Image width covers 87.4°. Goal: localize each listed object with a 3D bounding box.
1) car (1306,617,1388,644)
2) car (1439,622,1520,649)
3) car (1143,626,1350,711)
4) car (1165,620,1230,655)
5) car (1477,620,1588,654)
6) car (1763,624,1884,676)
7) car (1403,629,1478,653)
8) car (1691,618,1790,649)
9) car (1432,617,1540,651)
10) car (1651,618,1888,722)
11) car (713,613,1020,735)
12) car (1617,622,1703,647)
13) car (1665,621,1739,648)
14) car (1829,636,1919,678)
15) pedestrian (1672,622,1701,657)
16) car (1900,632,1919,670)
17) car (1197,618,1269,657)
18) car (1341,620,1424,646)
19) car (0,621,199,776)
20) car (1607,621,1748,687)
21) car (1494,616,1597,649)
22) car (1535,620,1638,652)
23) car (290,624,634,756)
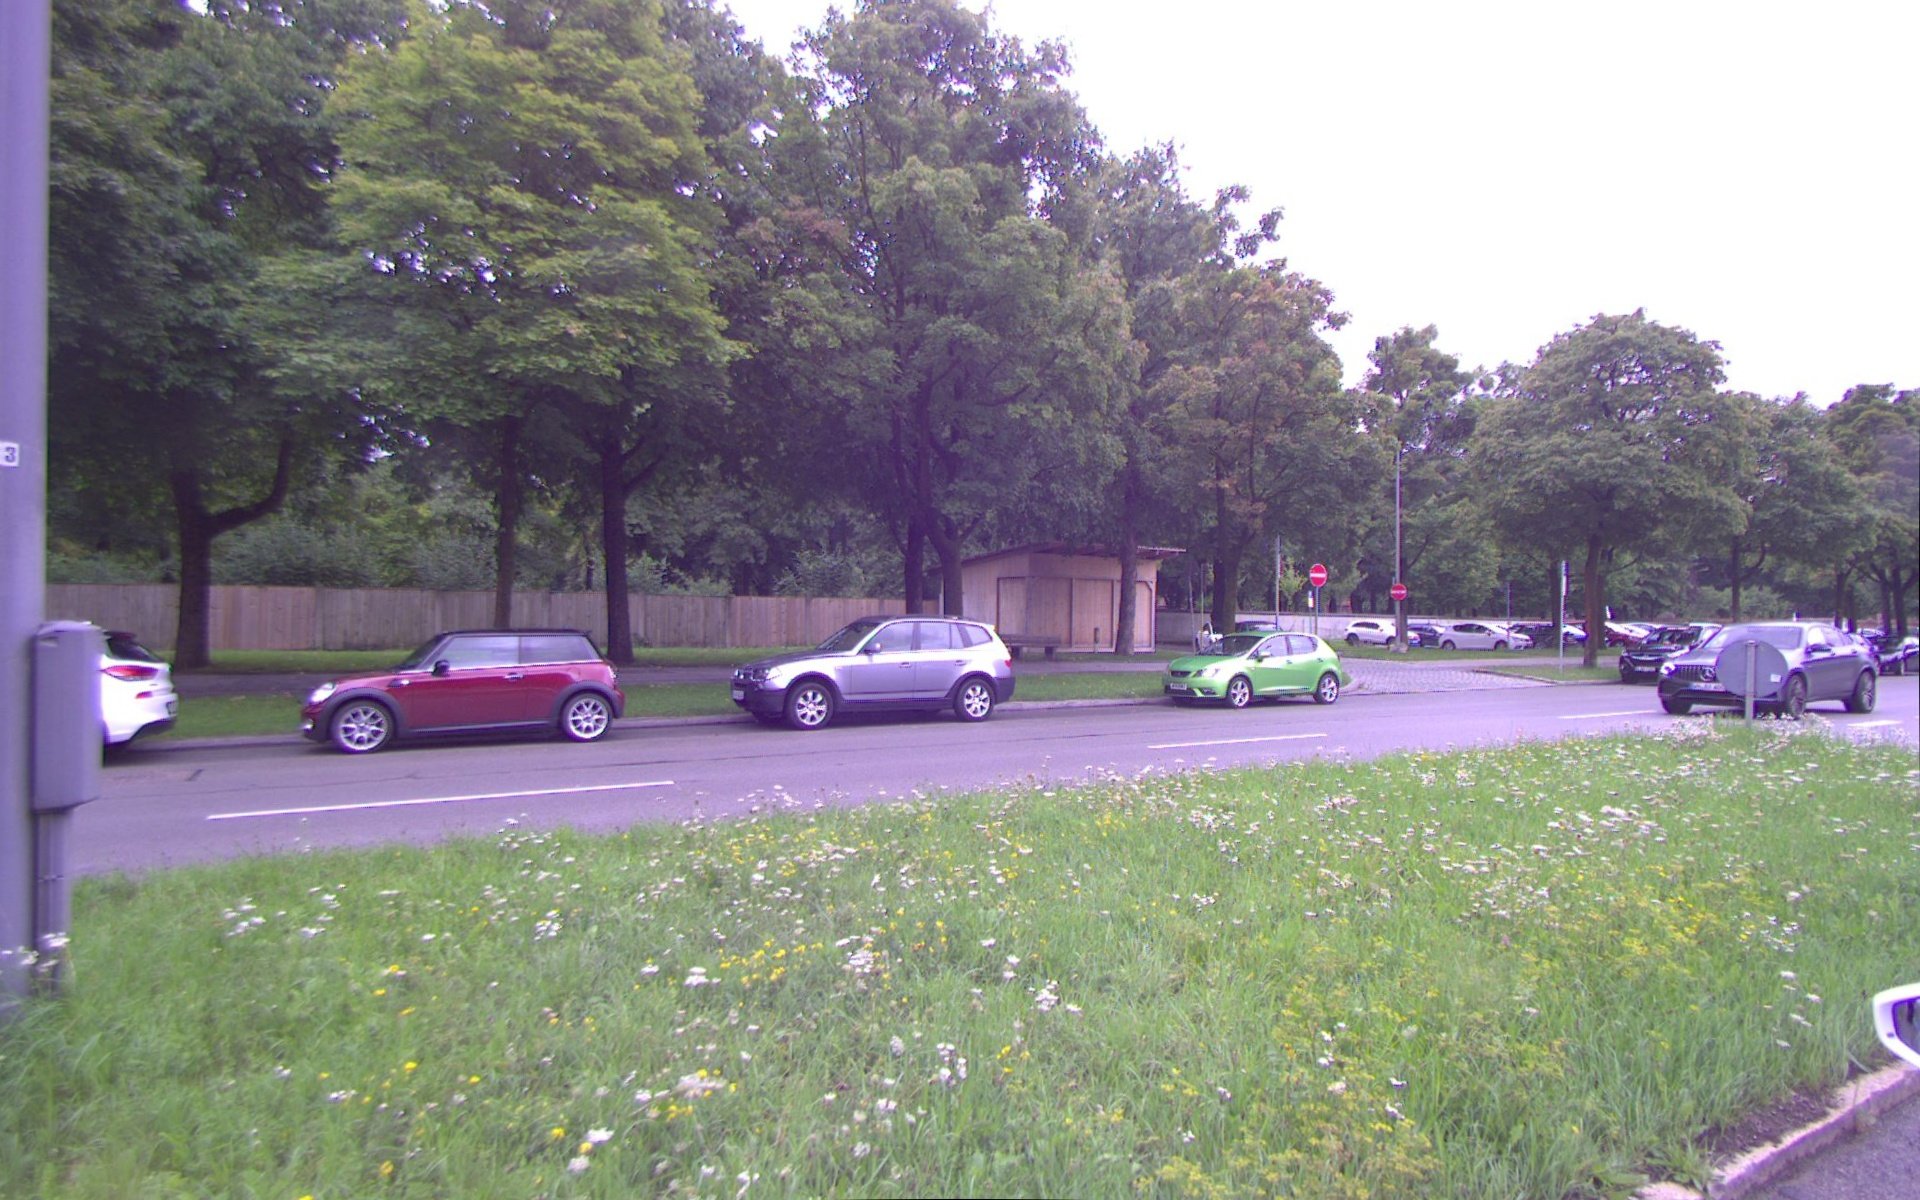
[{"bbox_3d":[23.208,1.812,60.459,1.974,1.461,4.490,1,-1,-26],"label":"car"},{"bbox_3d":[34.723,2.354,67.276,1.977,1.647,4.483,1,-1,-30],"label":"car"},{"bbox_3d":[5.673,1.292,19.787,3.952,1.519,1.633,1,-2,-30],"label":"car"},{"bbox_3d":[10.509,1.621,44.755,1.822,1.428,4.469,1,-1,0],"label":"car"},{"bbox_3d":[26.955,1.697,47.420,1.978,1.461,4.112,1,-1,-32],"label":"car"},{"bbox_3d":[28.904,1.651,33.606,4.063,1.620,1.813,1,-1,-29],"label":"car"},{"bbox_3d":[30.033,2.536,62.878,1.852,1.391,3.975,1,-1,-25],"label":"car"},{"bbox_3d":[43.409,1.842,55.943,1.792,1.591,3.970,1,-1,-28],"label":"car"},{"bbox_3d":[24.185,1.543,46.275,1.980,1.461,3.960,1,-1,-35],"label":"car"},{"bbox_3d":[14.273,1.136,17.655,4.449,1.610,1.812,1,0,-31],"label":"car"},{"bbox_3d":[-1.388,1.068,15.556,4.405,1.652,1.812,1,-2,-31],"label":"car"},{"bbox_3d":[43.328,2.107,62.236,1.980,1.461,3.960,1,-1,-35],"label":"car"},{"bbox_3d":[61.157,2.800,82.859,1.977,2.061,4.483,1,-1,-30],"label":"car"},{"bbox_3d":[33.793,2.053,36.688,3.951,1.428,1.814,1,-2,-29],"label":"car"},{"bbox_3d":[31.928,1.709,44.136,0.846,1.515,0.791,1,-1,-30],"label":"pedestrian"},{"bbox_3d":[39.123,2.013,39.897,3.960,1.466,1.810,1,-2,-35],"label":"car"},{"bbox_3d":[10.883,1.453,40.260,1.822,1.428,3.859,1,-1,0],"label":"car"},{"bbox_3d":[25.623,1.978,61.081,1.975,1.461,4.488,1,-1,-27],"label":"car"},{"bbox_3d":[-10.461,0.983,10.116,4.209,1.496,1.813,1,-3,-30],"label":"car"},{"bbox_3d":[20.473,1.538,28.625,4.193,1.722,1.812,3,-1,-32],"label":"car"},{"bbox_3d":[28.652,1.568,49.245,1.980,1.461,3.960,1,-1,-35],"label":"car"},{"bbox_3d":[31.427,1.779,50.455,1.980,1.461,3.960,1,-1,-35],"label":"car"},{"bbox_3d":[-6.132,1.054,12.617,3.643,1.440,1.642,1,-3,-30],"label":"car"}]
